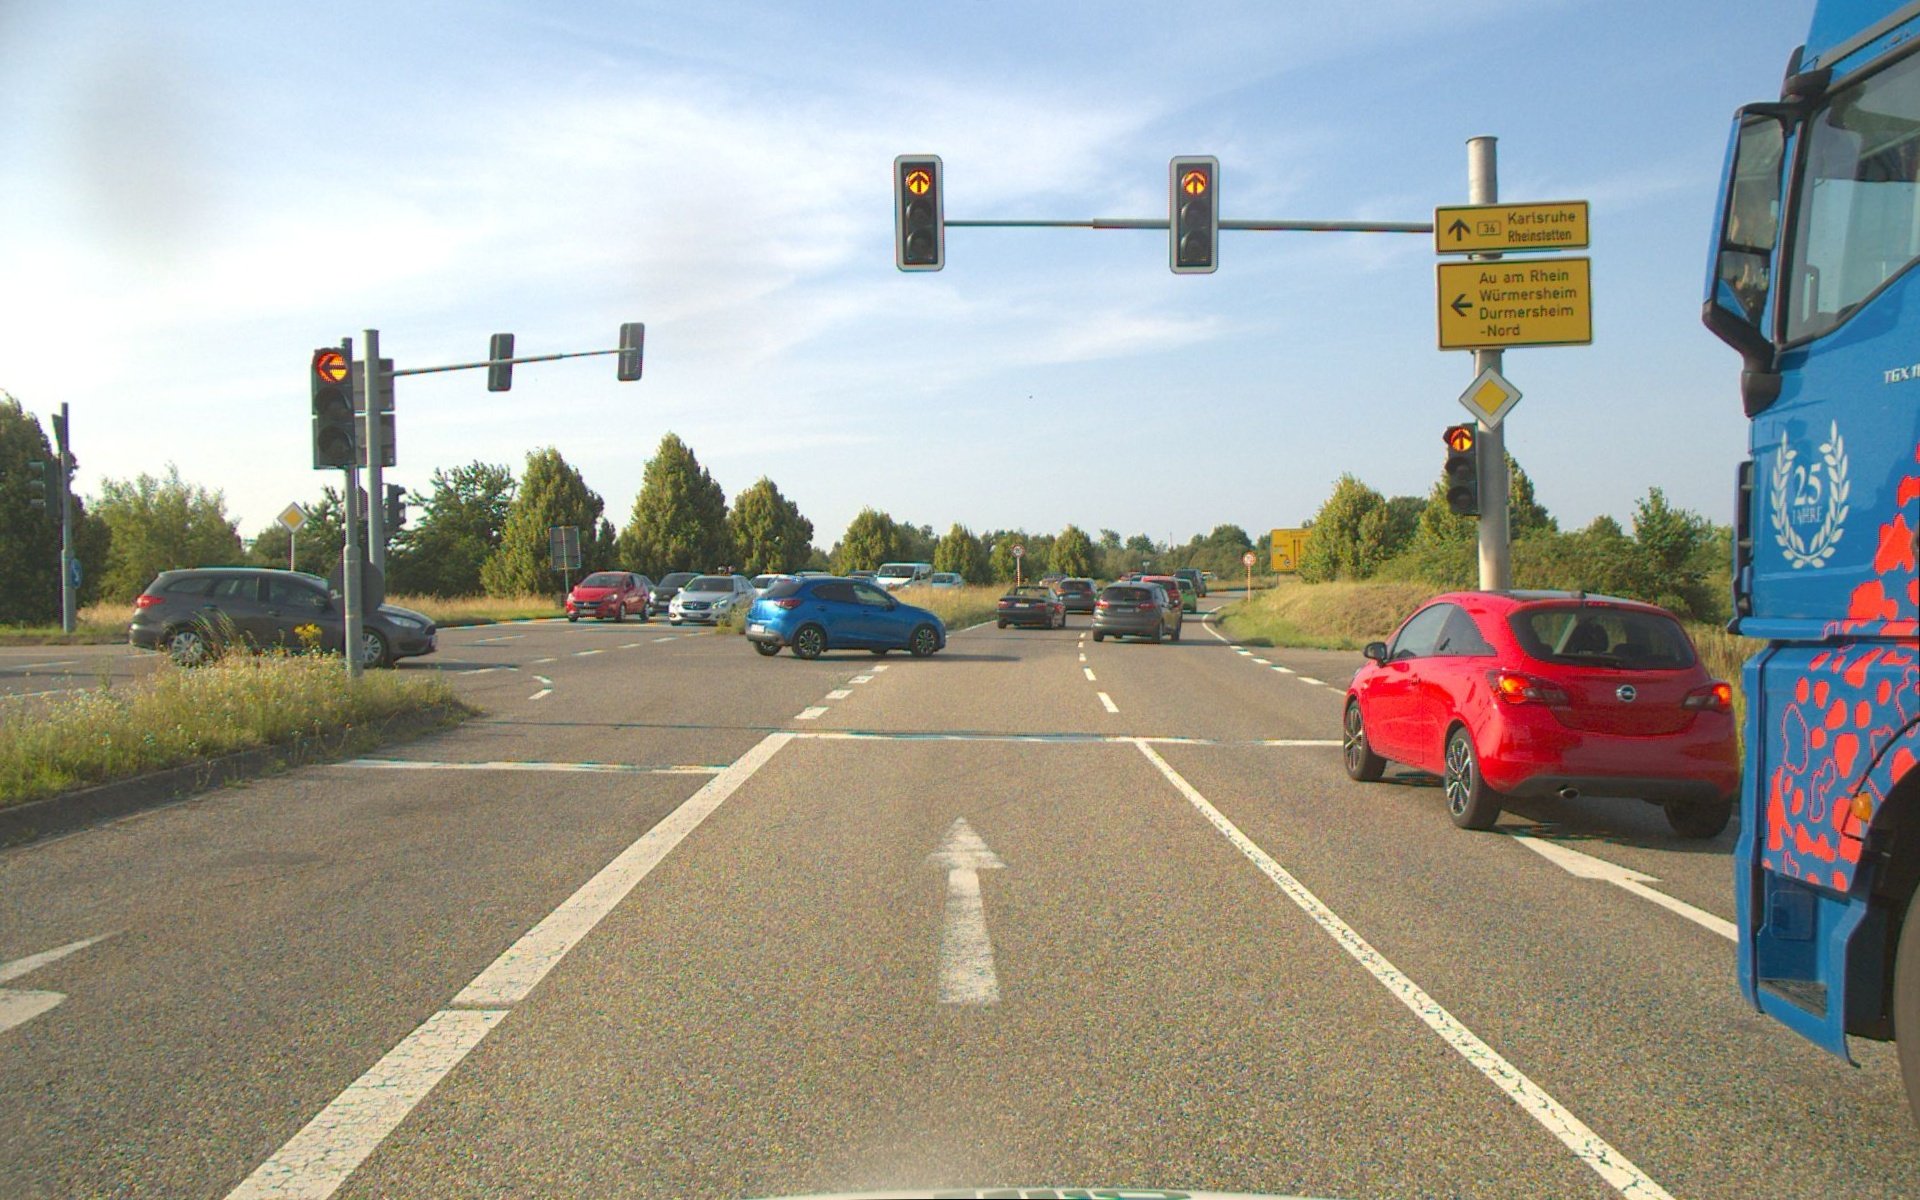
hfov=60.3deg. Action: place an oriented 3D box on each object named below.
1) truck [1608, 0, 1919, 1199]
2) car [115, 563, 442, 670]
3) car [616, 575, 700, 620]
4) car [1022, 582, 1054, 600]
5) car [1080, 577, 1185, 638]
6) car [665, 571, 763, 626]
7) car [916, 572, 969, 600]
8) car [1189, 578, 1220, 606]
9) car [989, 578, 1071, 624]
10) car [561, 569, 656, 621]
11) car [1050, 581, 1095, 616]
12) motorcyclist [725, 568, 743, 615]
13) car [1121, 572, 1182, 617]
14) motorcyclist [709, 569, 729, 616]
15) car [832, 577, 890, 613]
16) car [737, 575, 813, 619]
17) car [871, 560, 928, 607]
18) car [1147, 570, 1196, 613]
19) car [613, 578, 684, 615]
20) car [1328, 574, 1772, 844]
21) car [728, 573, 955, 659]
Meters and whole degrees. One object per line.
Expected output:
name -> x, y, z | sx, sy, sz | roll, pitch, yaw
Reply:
truck -> 3.902, -0.825, 2.701 | 3.234, 4.739, 5.729 | 1, 0, -3
car -> -10.547, 0.253, 25.916 | 4.435, 1.593, 1.811 | 0, 0, -11
car -> -10.196, -0.116, 56.068 | 1.748, 1.458, 4.054 | 0, 1, 6
car -> 6.413, -0.746, 135.439 | 1.748, 1.410, 4.054 | 0, 1, 15
car -> 4.331, 0.203, 41.009 | 1.874, 1.440, 3.797 | 0, -1, 17
car -> -7.162, -0.069, 48.592 | 1.748, 1.514, 4.654 | 0, 1, 6
car -> -0.900, -0.738, 87.595 | 1.748, 1.410, 4.054 | 0, 1, 15
car -> 16.090, -0.527, 109.043 | 1.868, 1.764, 4.281 | 0, -1, 7
car -> 2.171, 0.052, 49.995 | 1.868, 1.346, 4.281 | 0, -1, 11
car -> -10.701, -0.170, 50.601 | 1.684, 1.514, 3.807 | 0, 1, 7
car -> 4.618, -0.037, 68.334 | 1.798, 1.401, 4.279 | 0, -1, 3
motorcyclist -> -9.028, -0.331, 66.016 | 0.648, 1.848, 0.605 | 0, 0, -2
car -> 6.980, -0.177, 60.732 | 1.856, 1.592, 4.278 | 0, -1, 2
motorcyclist -> -9.084, -0.275, 62.399 | 0.648, 1.778, 0.605 | 0, 0, -2
car -> -4.061, -0.232, 68.544 | 1.748, 1.410, 4.054 | 0, 1, 6
car -> -6.337, -0.119, 57.015 | 1.748, 1.458, 4.312 | 0, 1, 6
car -> -2.834, -0.770, 77.980 | 1.884, 2.114, 4.247 | 0, 1, 9
car -> 9.235, -0.347, 72.499 | 1.869, 1.831, 4.280 | 0, -1, 4
car -> -11.344, -0.150, 60.549 | 1.406, 1.315, 4.675 | 0, 1, 4
car -> 3.901, 0.620, 11.623 | 1.662, 1.576, 3.749 | 0, 1, -2
car -> -2.199, 0.266, 31.083 | 3.937, 1.518, 1.757 | 0, 1, -35
